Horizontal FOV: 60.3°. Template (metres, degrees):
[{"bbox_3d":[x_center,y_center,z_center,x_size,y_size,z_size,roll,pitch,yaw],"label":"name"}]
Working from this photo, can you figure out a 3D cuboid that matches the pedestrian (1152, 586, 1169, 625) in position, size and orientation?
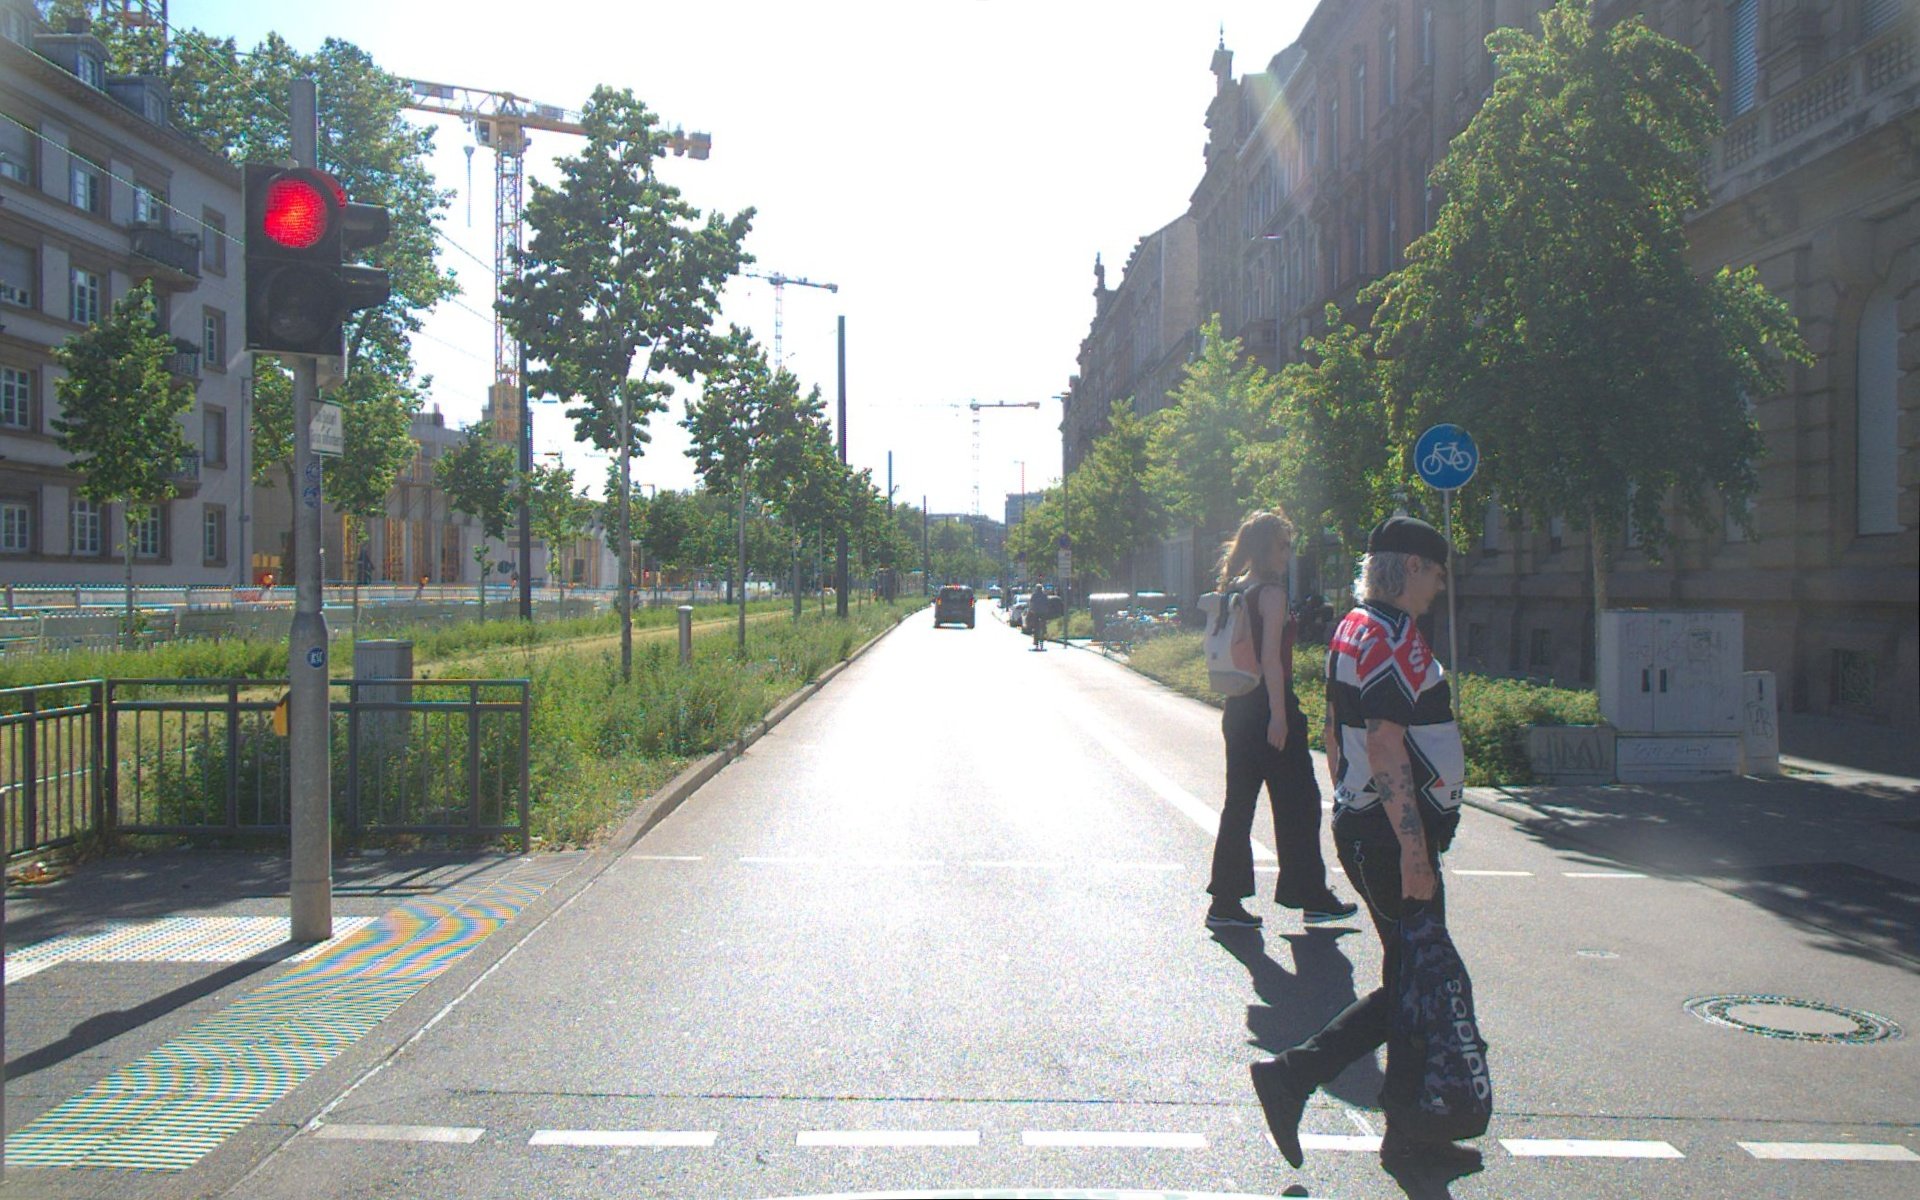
[{"bbox_3d":[8.396,0.228,69.323,0.601,1.640,0.669,0,0,-1],"label":"pedestrian"}]

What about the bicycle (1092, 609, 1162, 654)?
[{"bbox_3d":[4.435,0.827,44.006,1.756,1.048,0.527,-4,0,-1],"label":"bicycle"}]

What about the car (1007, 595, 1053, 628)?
[{"bbox_3d":[3.349,0.512,79.823,1.987,1.525,4.529,0,0,-1],"label":"car"}]

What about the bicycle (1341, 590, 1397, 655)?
[{"bbox_3d":[9.055,0.471,36.645,0.603,1.353,1.899,-4,0,-3],"label":"bicycle"}]

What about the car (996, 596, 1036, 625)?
[{"bbox_3d":[3.105,0.557,92.346,1.987,1.525,4.529,0,0,-1],"label":"car"}]

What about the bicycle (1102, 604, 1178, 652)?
[{"bbox_3d":[4.459,0.696,41.034,1.756,1.048,0.527,-4,0,-1],"label":"bicycle"}]

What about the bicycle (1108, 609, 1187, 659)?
[{"bbox_3d":[4.492,0.805,39.661,1.756,1.048,0.527,-4,0,-1],"label":"bicycle"}]

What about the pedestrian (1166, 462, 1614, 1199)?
[{"bbox_3d":[1.097,0.587,4.438,0.848,1.819,0.969,1,0,-7],"label":"pedestrian"}]

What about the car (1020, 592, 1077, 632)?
[{"bbox_3d":[3.555,0.459,67.432,1.987,1.525,4.653,0,0,-1],"label":"car"}]

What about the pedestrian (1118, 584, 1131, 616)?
[{"bbox_3d":[8.500,-0.019,85.568,0.601,1.640,0.669,0,0,-1],"label":"pedestrian"}]

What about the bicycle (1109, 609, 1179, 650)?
[{"bbox_3d":[4.737,0.752,42.636,1.756,1.048,0.527,0,0,-1],"label":"bicycle"}]

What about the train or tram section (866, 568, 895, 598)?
[{"bbox_3d":[-7.892,-1.625,165.581,2.700,2.790,9.859,1,0,-2],"label":"train or tram section"}]

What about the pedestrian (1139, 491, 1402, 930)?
[{"bbox_3d":[1.426,0.481,7.706,1.055,1.942,0.652,0,0,-7],"label":"pedestrian"}]

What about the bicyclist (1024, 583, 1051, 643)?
[{"bbox_3d":[2.246,0.369,47.765,0.670,1.702,0.922,2,0,-2],"label":"bicyclist"}]

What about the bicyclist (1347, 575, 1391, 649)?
[{"bbox_3d":[9.047,0.262,36.585,0.647,1.556,0.800,-4,0,-3],"label":"bicyclist"}]

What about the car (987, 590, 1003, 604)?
[{"bbox_3d":[4.643,-0.330,217.741,1.953,1.759,3.999,1,0,-1],"label":"car"}]

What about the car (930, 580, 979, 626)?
[{"bbox_3d":[-0.287,0.122,74.994,2.155,1.960,4.653,0,0,-1],"label":"car"}]

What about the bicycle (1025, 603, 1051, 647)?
[{"bbox_3d":[2.230,0.695,47.555,0.589,1.201,1.869,2,0,-1],"label":"bicycle"}]

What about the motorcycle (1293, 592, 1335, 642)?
[{"bbox_3d":[9.465,0.433,44.301,0.686,1.289,1.981,0,0,-1],"label":"motorcycle"}]
